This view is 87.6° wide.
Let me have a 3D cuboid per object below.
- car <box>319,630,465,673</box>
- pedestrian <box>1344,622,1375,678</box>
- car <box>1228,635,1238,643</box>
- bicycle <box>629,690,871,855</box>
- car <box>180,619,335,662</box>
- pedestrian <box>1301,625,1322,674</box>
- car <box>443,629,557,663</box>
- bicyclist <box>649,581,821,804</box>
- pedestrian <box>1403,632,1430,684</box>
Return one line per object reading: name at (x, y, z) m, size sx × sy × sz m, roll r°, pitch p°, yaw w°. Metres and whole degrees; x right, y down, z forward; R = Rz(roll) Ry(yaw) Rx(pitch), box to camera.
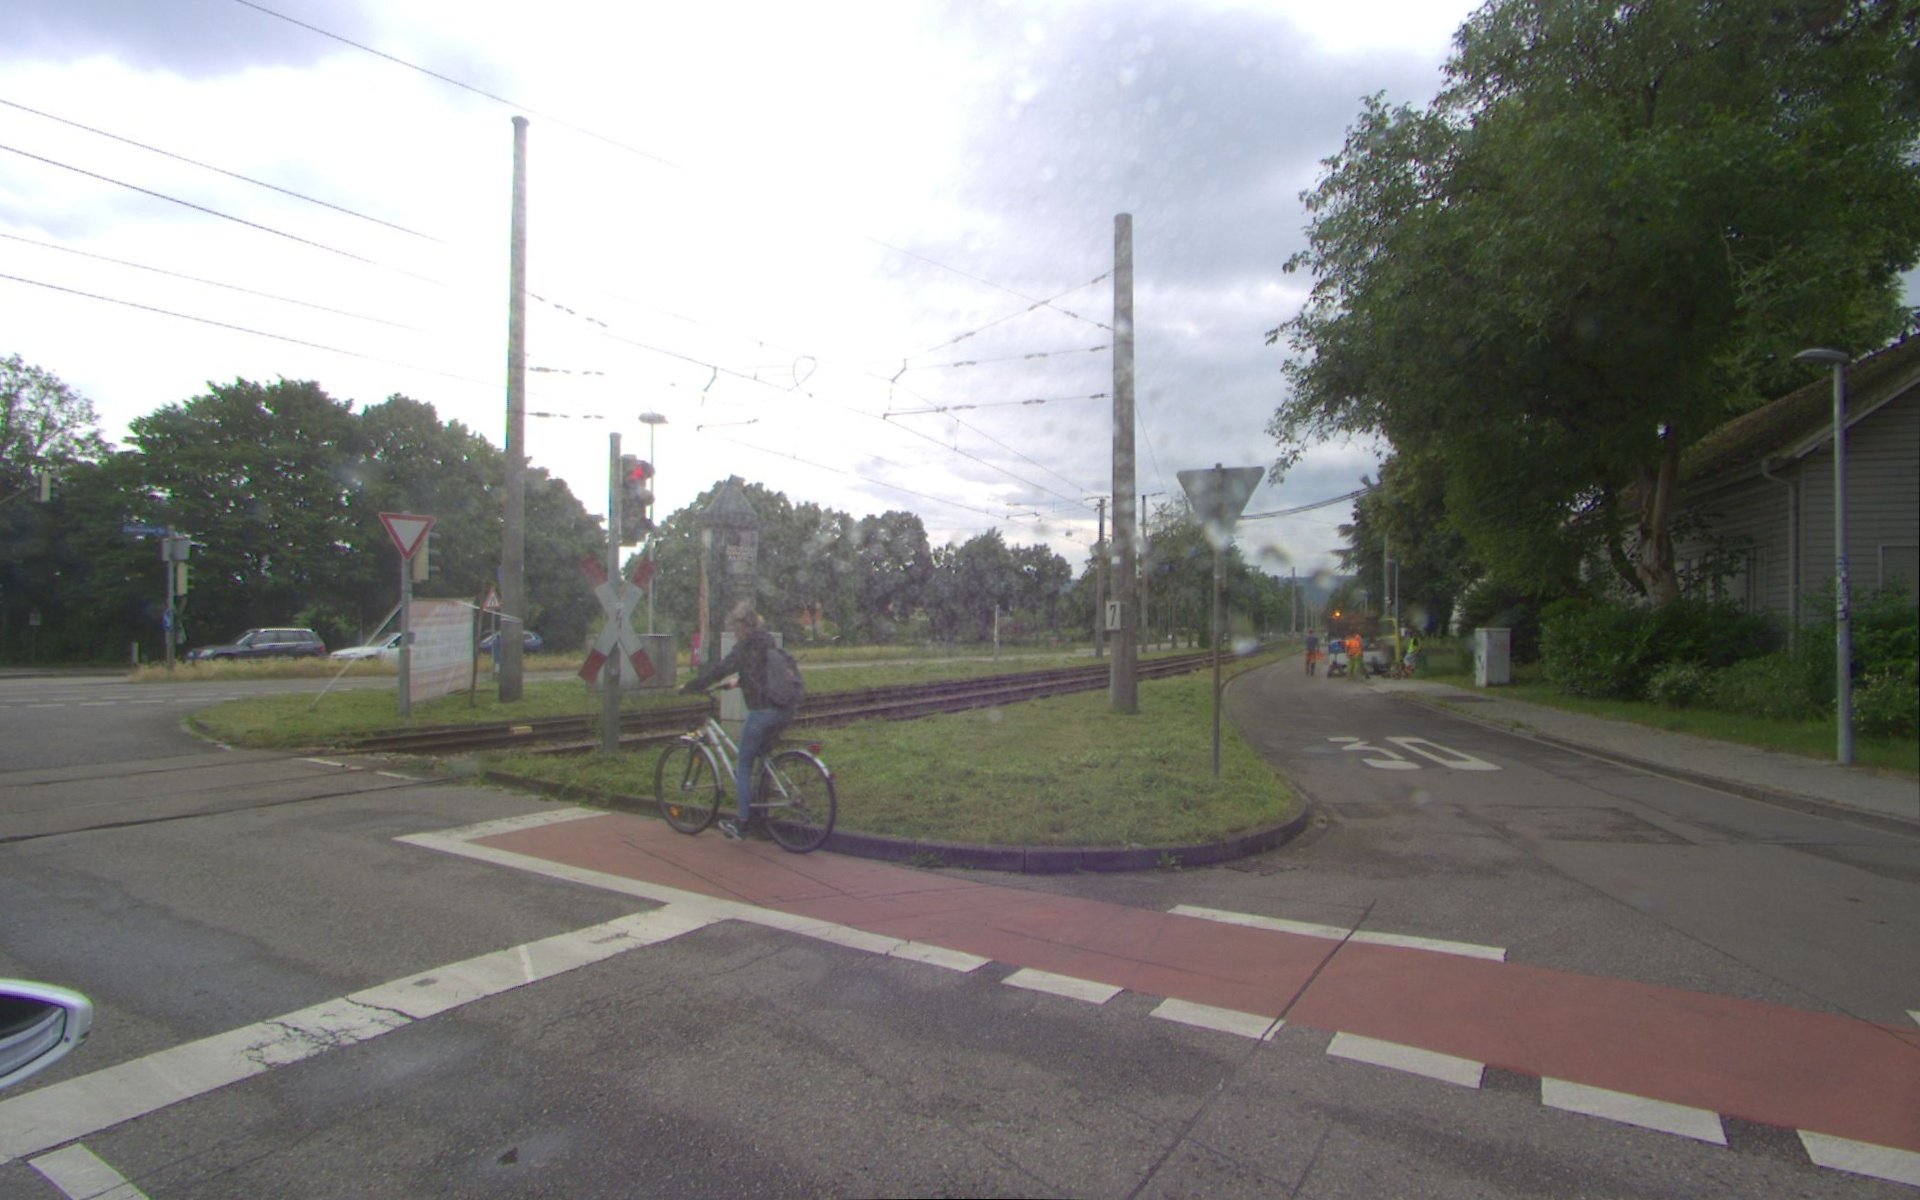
car at (-19.657, 1.760, 34.803) m, size 1.624 × 1.374 × 4.129 m, roll 0°, pitch -2°, yaw 33°
pedestrian at (13.895, 1.731, 34.848) m, size 0.862 × 1.878 × 0.676 m, roll 1°, pitch -1°, yaw 34°
car at (55.393, 7.893, 202.953) m, size 1.963 × 1.460 × 3.997 m, roll -1°, pitch -2°, yaw 16°
bicycle at (-1.551, 1.179, 7.184) m, size 2.001 × 0.993 × 0.382 m, roll -1°, pitch -2°, yaw 32°
car at (-26.471, 1.522, 37.909) m, size 1.820 × 1.523 × 4.456 m, roll 0°, pitch -2°, yaw 33°
pedestrian at (13.830, 1.953, 39.411) m, size 0.757 × 1.892 × 0.604 m, roll 0°, pitch -1°, yaw 17°
car at (-21.066, 2.103, 46.031) m, size 1.820 × 1.458 × 4.456 m, roll 0°, pitch -2°, yaw 33°
bicyclist at (-1.569, 0.630, 7.001) m, size 0.947 × 1.441 × 0.621 m, roll -1°, pitch -5°, yaw 32°
pedestrian at (16.714, 2.112, 36.645) m, size 0.598 × 1.864 × 0.712 m, roll 1°, pitch -1°, yaw -13°
